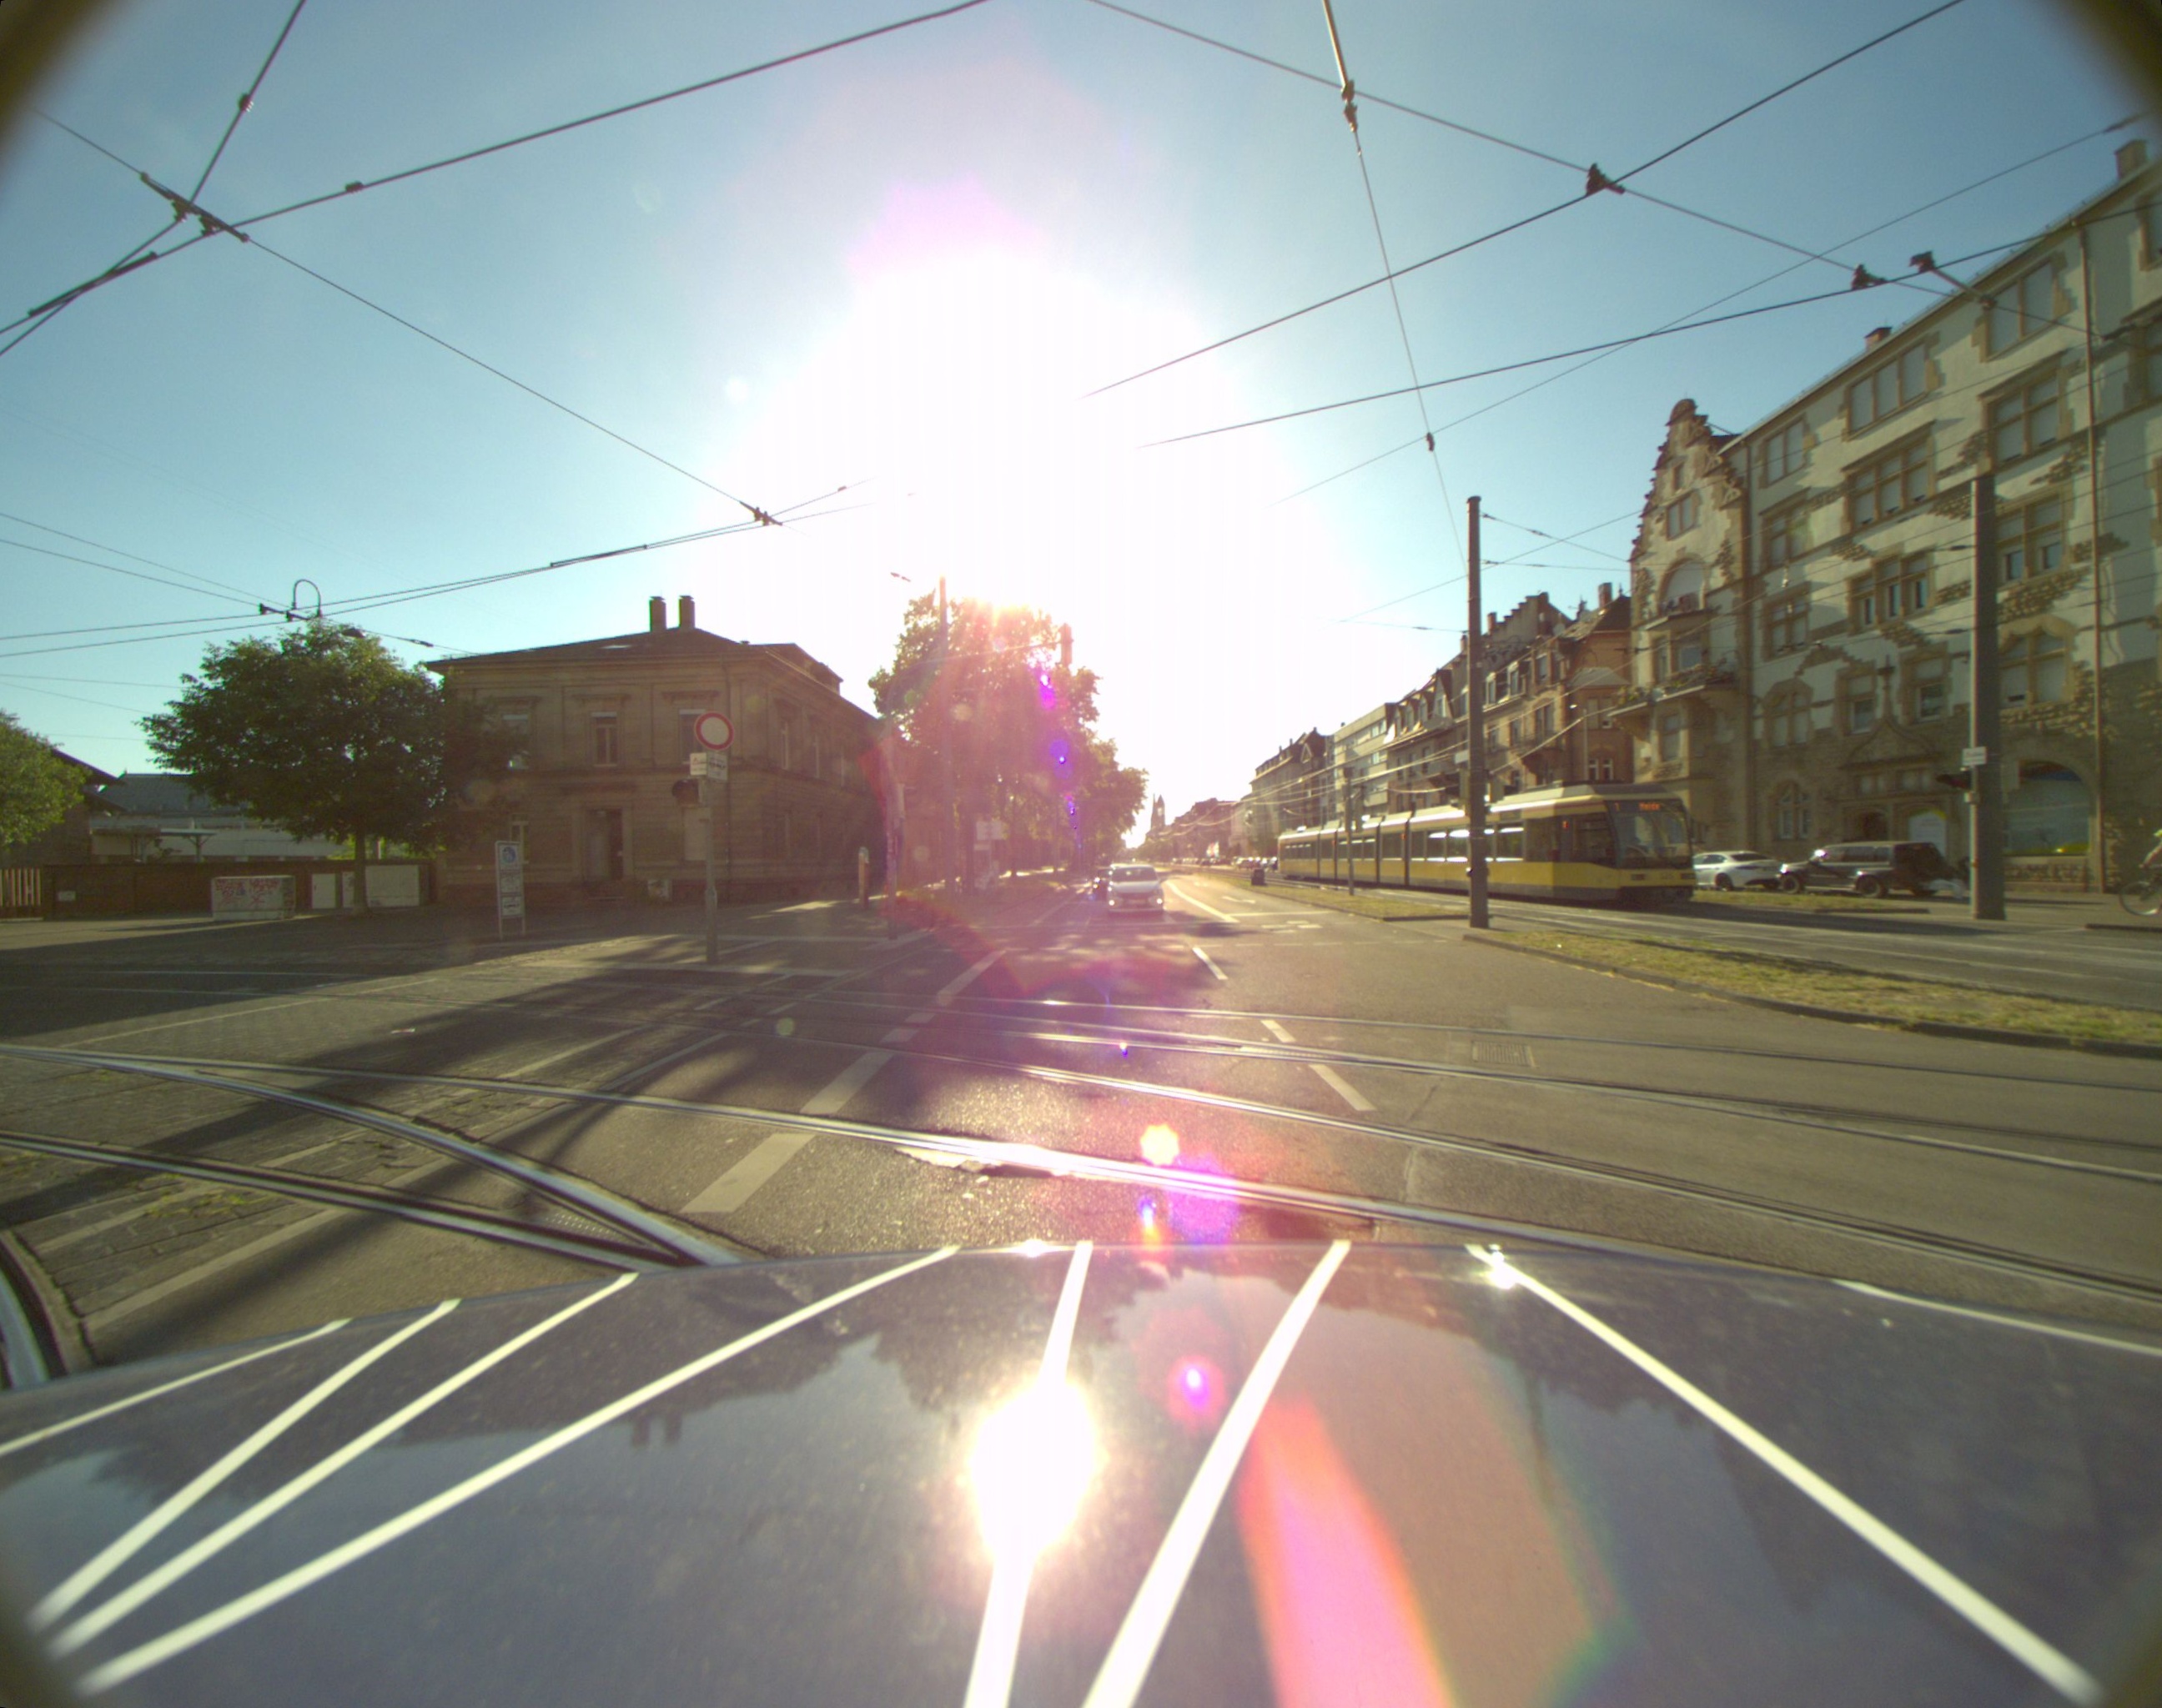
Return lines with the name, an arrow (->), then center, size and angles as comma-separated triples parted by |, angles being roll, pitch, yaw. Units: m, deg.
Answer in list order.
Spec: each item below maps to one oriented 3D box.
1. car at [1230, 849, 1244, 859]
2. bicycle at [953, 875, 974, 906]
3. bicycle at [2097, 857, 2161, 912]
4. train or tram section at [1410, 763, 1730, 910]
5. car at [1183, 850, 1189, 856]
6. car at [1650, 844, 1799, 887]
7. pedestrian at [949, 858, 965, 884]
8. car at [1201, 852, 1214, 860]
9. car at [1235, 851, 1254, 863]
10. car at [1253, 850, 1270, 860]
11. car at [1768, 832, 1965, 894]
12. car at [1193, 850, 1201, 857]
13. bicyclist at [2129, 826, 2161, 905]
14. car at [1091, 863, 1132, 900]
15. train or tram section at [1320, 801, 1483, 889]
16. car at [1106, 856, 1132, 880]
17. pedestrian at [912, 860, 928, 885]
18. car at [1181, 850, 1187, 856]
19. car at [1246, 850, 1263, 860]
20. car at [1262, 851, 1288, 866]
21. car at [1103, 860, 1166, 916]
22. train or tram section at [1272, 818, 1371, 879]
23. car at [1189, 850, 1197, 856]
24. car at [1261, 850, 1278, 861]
car -> 28.400, 0.015, 138.736 | 1.875, 1.726, 3.916 | -3, 0, 3
bicycle -> -4.339, 1.344, 28.165 | 0.541, 1.055, 1.771 | -1, 0, -1
bicycle -> 22.234, 0.618, 15.419 | 0.585, 1.116, 1.991 | -1, 0, 1
train or tram section -> 14.374, -0.416, 24.315 | 2.819, 3.469, 12.155 | -1, 0, 2
car -> 33.296, -0.310, 240.330 | 1.623, 1.581, 3.450 | -3, 0, 2
car -> 24.322, 0.404, 28.982 | 1.721, 1.414, 4.656 | -4, 0, 1
pedestrian -> -8.038, 1.099, 49.247 | 0.771, 1.699, 1.042 | -1, 1, 4
car -> 23.469, 0.368, 141.152 | 1.824, 1.448, 4.166 | -1, 0, 2
car -> 21.316, 0.345, 99.024 | 1.824, 1.448, 4.541 | -1, 0, 4
car -> 28.043, 0.168, 118.007 | 1.802, 1.422, 3.823 | -3, 0, 1
car -> 24.189, 0.264, 23.660 | 1.721, 1.665, 4.217 | -4, 0, 1
car -> 30.810, -0.105, 201.739 | 1.623, 1.581, 3.450 | -3, 0, 2
bicyclist -> 22.221, 0.228, 15.470 | 0.585, 1.605, 0.839 | -1, 0, 1
car -> 1.405, 1.218, 34.591 | 1.686, 1.462, 4.056 | -3, 0, 3
train or tram section -> 14.901, -0.371, 36.978 | 2.819, 3.469, 13.205 | -1, 0, 2
car -> 2.783, 0.991, 55.209 | 1.833, 1.543, 4.001 | -1, 0, 3
pedestrian -> -10.504, 1.213, 49.625 | 0.771, 1.597, 0.986 | -1, 1, 4
car -> 33.281, -0.306, 245.232 | 1.623, 1.581, 3.450 | -3, 0, 2
car -> 27.905, 0.162, 122.346 | 1.642, 1.438, 3.538 | -3, 0, -5
car -> 20.221, 0.466, 79.274 | 1.824, 1.448, 4.158 | -1, 0, 4
car -> 1.605, 0.974, 23.287 | 1.686, 1.462, 4.056 | -3, 0, 3
train or tram section -> 15.460, -0.328, 50.194 | 2.819, 3.469, 13.205 | -1, 0, 2
car -> 31.118, -0.284, 210.756 | 1.623, 1.581, 3.450 | -3, 0, 2
car -> 27.987, 0.191, 112.831 | 1.801, 1.470, 3.824 | -3, 0, 3
